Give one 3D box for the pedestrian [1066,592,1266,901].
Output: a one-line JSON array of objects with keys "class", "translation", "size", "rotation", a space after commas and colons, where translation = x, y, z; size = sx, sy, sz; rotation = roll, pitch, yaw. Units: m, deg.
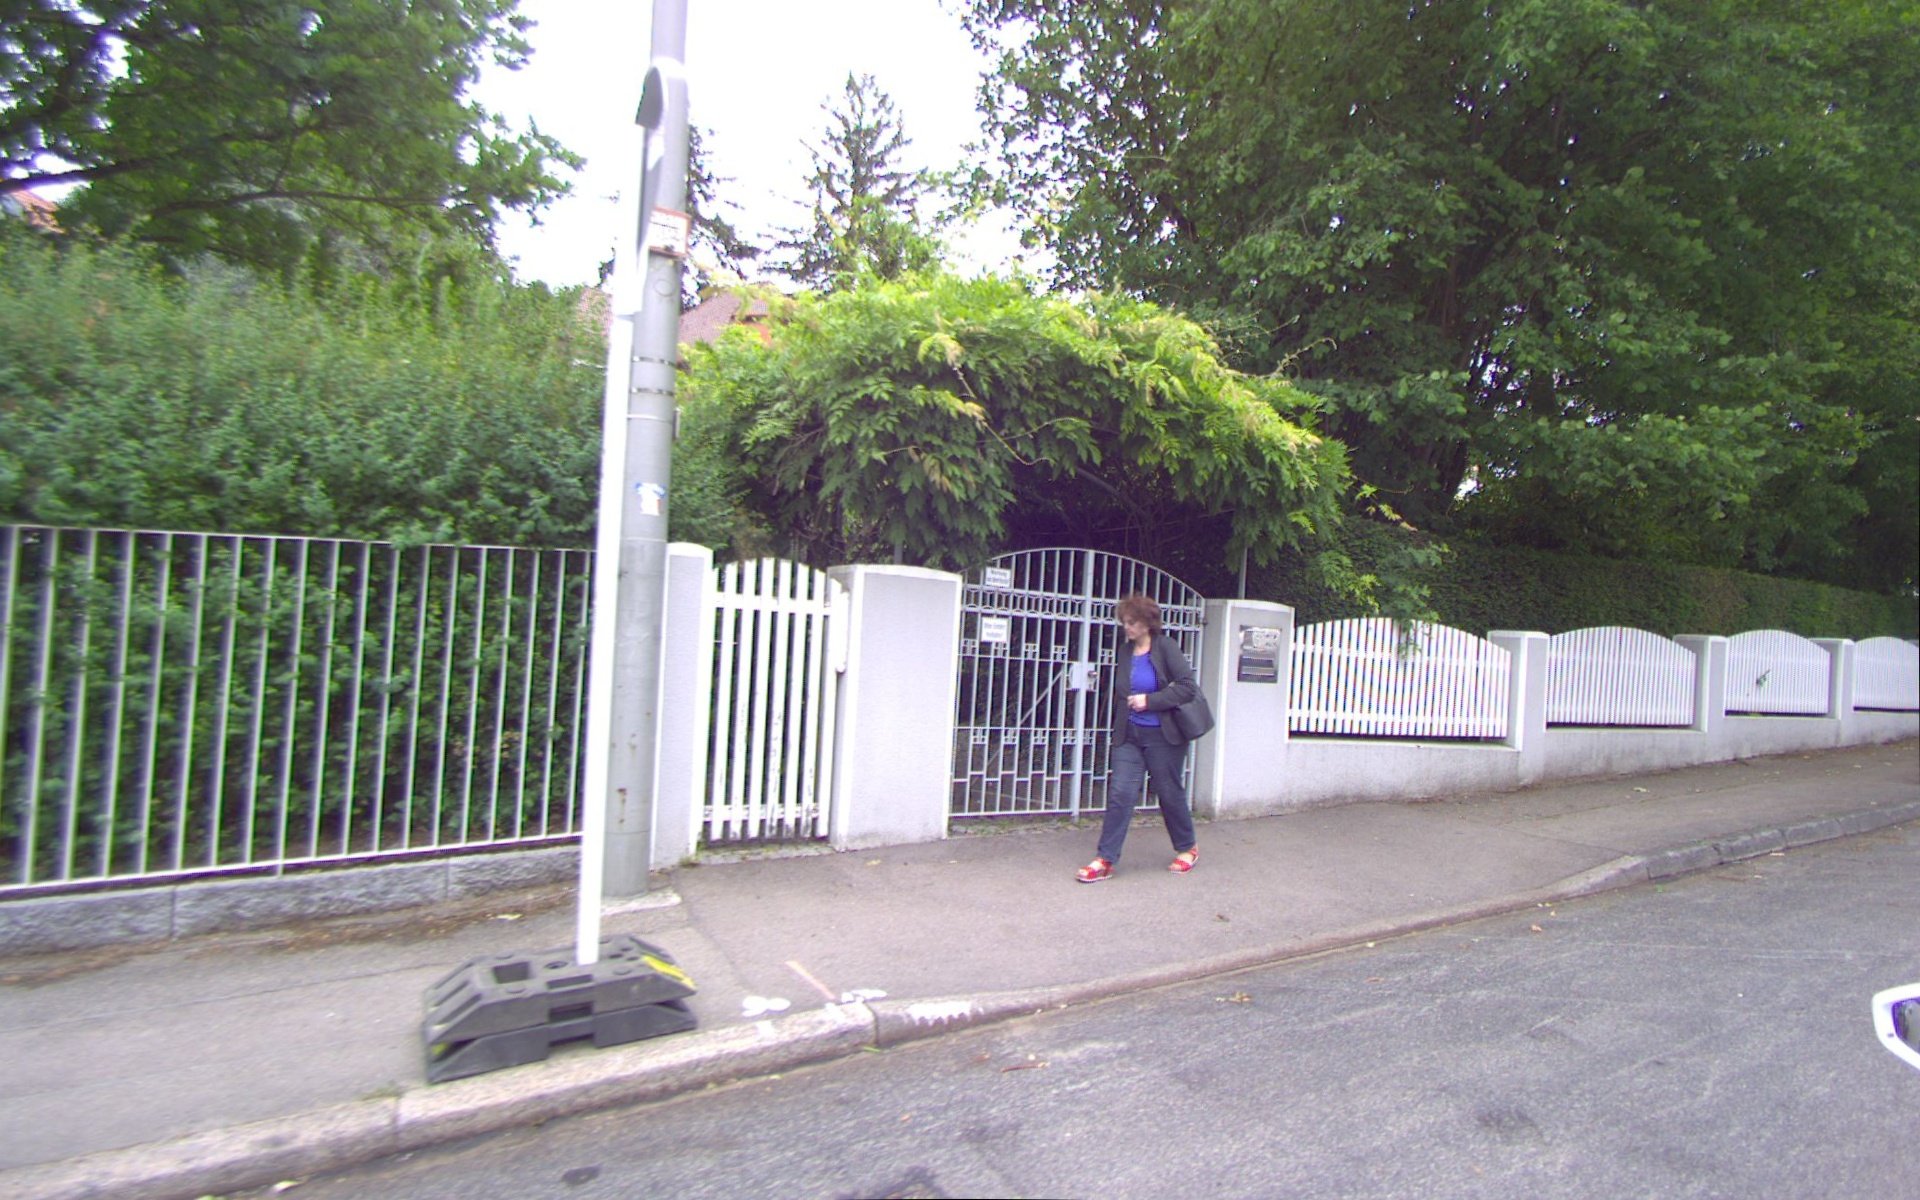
[{"class": "pedestrian", "translation": [1.146, 0.774, 5.649], "size": [0.788, 1.567, 0.605], "rotation": [2, 4, -31]}]
